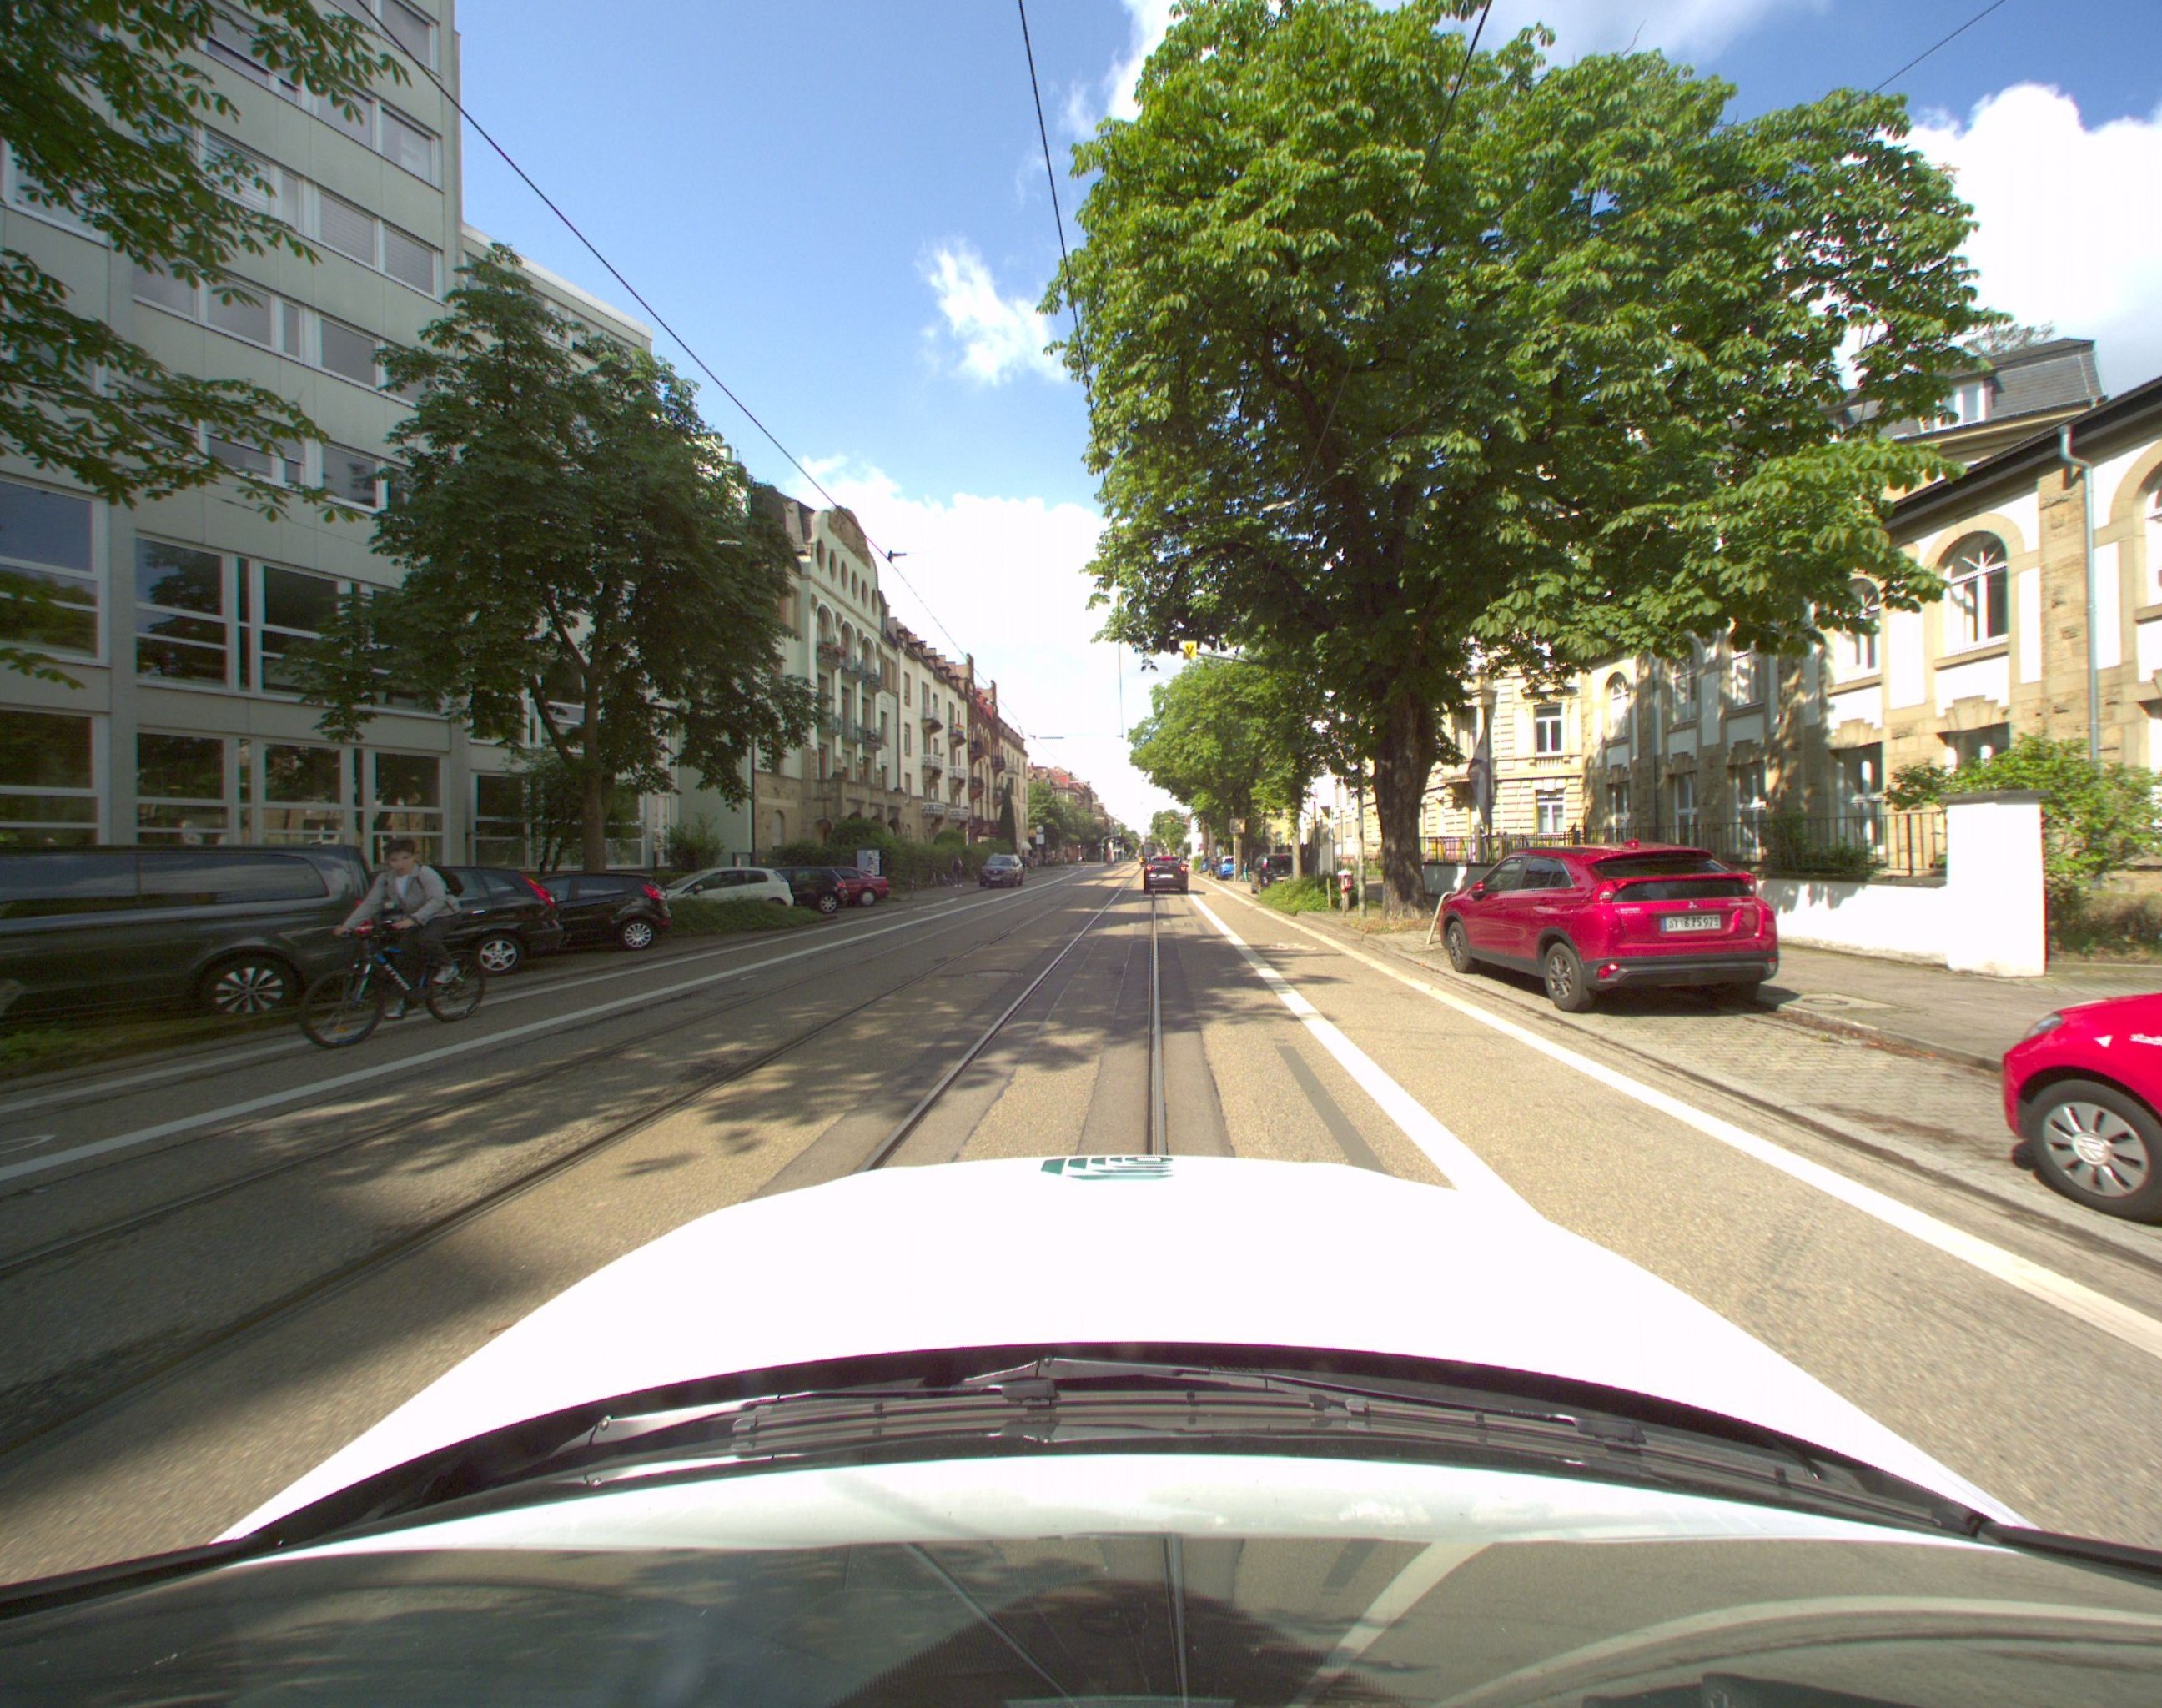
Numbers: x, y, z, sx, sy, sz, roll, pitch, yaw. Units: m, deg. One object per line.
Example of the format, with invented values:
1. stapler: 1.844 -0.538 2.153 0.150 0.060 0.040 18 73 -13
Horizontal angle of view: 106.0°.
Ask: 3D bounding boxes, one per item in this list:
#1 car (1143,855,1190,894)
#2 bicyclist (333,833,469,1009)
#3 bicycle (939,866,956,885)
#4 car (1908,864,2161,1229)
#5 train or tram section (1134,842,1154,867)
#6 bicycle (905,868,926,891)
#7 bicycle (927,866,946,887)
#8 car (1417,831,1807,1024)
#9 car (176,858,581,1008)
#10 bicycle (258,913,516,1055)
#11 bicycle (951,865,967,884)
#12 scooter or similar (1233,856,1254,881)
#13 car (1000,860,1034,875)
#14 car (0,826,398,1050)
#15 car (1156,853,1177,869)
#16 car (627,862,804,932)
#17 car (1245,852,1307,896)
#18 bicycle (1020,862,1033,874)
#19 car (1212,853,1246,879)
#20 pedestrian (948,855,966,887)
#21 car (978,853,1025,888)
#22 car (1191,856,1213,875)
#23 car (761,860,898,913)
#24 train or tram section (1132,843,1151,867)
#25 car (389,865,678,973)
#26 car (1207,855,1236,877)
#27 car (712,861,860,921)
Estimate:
1. car: 3.516 0.803 34.079 1.781 1.512 4.355 0 0 4
2. bicyclist: -6.451 0.609 7.756 0.638 1.577 0.742 -2 -1 2
3. bicycle: -6.968 1.113 42.556 0.381 0.959 1.813 1 0 7
4. car: 5.090 0.771 2.489 1.593 1.428 3.600 -2 -1 4
5. train or tram section: 9.208 0.101 119.734 2.642 3.528 8.500 -2 -1 2
6. bicycle: -7.546 1.149 37.174 0.381 0.959 1.813 1 0 7
7. bicycle: -7.177 1.106 40.471 0.381 0.959 1.813 1 0 7
8. car: 5.695 0.678 9.529 1.868 1.676 4.285 -2 0 3
9. car: -9.536 0.964 11.462 4.021 1.593 1.720 -3 -1 -40
10. bicycle: -6.440 1.148 7.740 0.652 1.040 2.002 -2 -1 3
11. bicycle: -6.694 1.125 44.682 0.381 0.959 1.925 1 0 7
12. scooter or similar: 8.912 0.793 44.567 0.443 1.299 1.172 -4 1 -26
13. car: -6.673 1.412 85.286 3.218 1.513 1.682 1 -1 8
14. car: -10.188 0.795 8.027 5.196 1.954 1.893 -3 -1 -41
15. car: 8.409 0.681 80.443 1.778 1.492 4.886 -1 0 3
16. car: -9.413 1.062 21.141 3.828 1.484 1.677 -3 -1 -41
17. car: 7.759 0.758 32.807 1.689 1.591 4.207 -3 -1 4
18. bicycle: -4.529 1.204 67.560 0.508 0.959 1.821 2 -2 12
19. car: 9.343 0.750 51.495 1.632 1.496 3.630 -2 0 3
20. pedestrian: -6.214 0.839 40.876 0.676 1.568 0.883 1 0 7
21. car: -4.222 0.828 43.792 1.778 1.762 4.886 -1 0 3
22. car: 10.327 0.934 69.817 1.616 1.496 3.853 -3 0 5
23. car: -8.439 1.066 27.503 3.990 1.484 1.825 -3 -1 -39
24. train or tram section: 9.511 0.182 128.223 2.642 3.528 8.500 -2 -1 2
25. car: -9.569 1.049 14.473 4.019 1.484 1.721 -3 -1 -38
26. car: 10.205 0.841 59.377 1.633 1.496 3.761 -2 0 3
27. car: -8.824 1.078 24.476 3.823 1.484 1.679 -3 -1 -35
